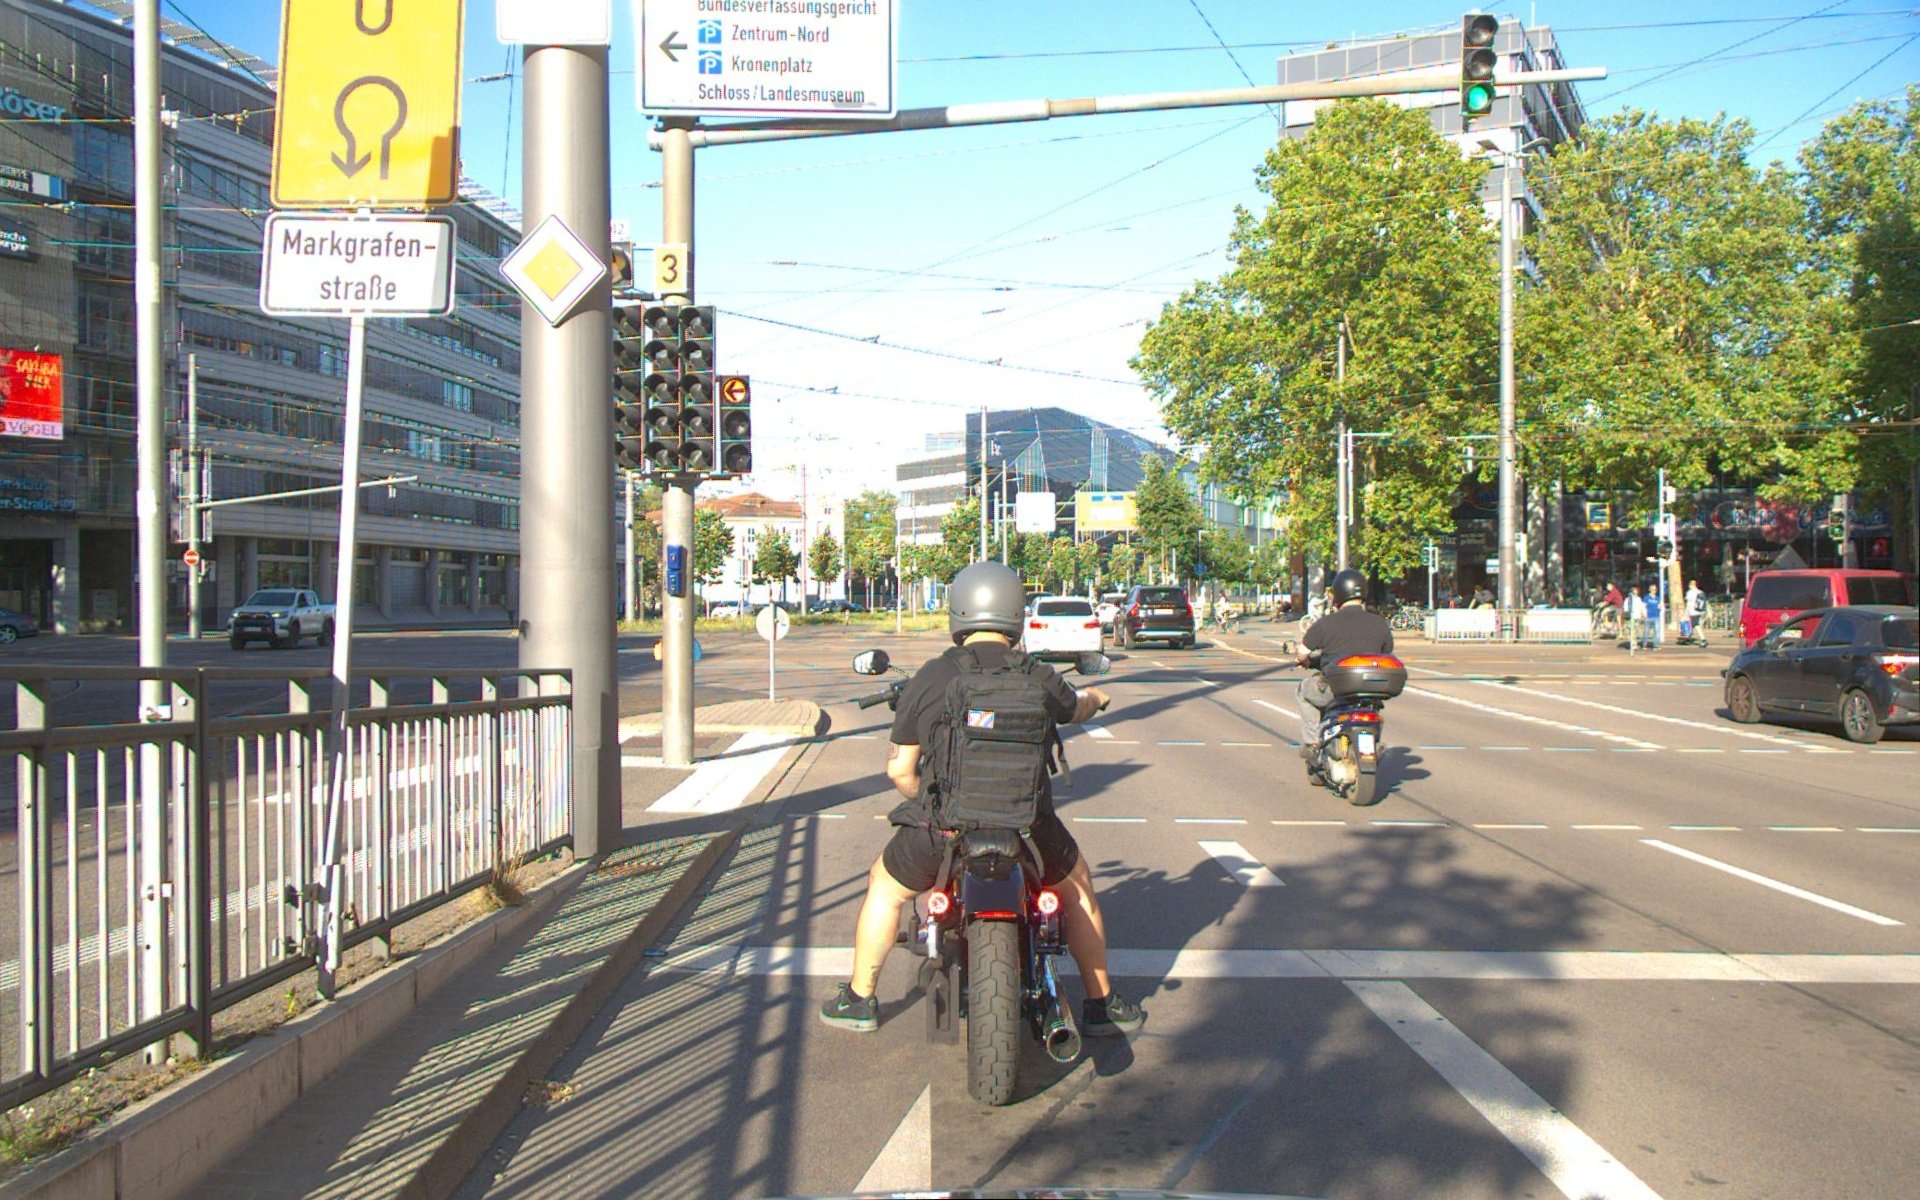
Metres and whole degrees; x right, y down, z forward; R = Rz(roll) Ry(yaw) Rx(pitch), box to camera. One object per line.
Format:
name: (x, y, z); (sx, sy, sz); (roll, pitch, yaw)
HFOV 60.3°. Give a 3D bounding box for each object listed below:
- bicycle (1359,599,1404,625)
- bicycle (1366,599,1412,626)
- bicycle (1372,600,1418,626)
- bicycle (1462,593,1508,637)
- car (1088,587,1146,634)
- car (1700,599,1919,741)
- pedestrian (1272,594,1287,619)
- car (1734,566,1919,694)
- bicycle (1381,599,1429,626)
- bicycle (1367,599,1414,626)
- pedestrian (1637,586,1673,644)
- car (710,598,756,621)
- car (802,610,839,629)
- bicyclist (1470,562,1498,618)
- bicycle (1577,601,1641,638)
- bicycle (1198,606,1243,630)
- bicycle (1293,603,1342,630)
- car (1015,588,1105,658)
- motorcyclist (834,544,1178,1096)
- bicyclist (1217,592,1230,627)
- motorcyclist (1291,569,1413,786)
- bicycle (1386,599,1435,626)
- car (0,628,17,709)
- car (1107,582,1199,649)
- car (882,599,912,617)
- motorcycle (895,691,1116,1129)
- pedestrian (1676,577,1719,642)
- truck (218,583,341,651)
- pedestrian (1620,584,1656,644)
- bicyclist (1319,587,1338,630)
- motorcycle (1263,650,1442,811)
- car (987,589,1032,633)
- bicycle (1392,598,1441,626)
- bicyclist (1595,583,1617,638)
bicycle: (18.070, 0.529, 70.924); (1.842, 1.064, 0.360); (1, 0, -2)
bicycle: (18.083, 0.528, 69.773); (1.842, 1.064, 0.360); (1, 0, -2)
bicycle: (18.094, 0.538, 68.787); (1.842, 1.065, 0.360); (1, -1, -2)
bicycle: (17.274, 0.488, 54.474); (0.710, 1.391, 2.918); (1, -1, 3)
car: (5.730, 0.363, 60.859); (1.696, 1.626, 4.040); (1, 1, -1)
car: (10.692, 0.758, 19.752); (1.697, 1.475, 4.038); (1, 0, -4)
pedestrian: (17.590, 0.367, 91.083); (0.802, 1.337, 0.638); (1, -1, 8)
car: (15.367, 0.501, 28.646); (4.428, 2.044, 1.784); (1, 0, -39)
bicycle: (18.188, 0.517, 67.601); (1.842, 1.065, 0.360); (1, -1, -2)
bicycle: (18.032, 0.528, 69.271); (1.842, 1.064, 0.360); (1, 0, -2)
pedestrian: (18.448, 0.404, 43.887); (0.557, 1.505, 0.698); (1, -1, -20)
car: (-14.741, 0.600, 107.466); (1.786, 1.455, 4.534); (0, 0, 8)
car: (-10.797, 1.528, 128.435); (1.786, 1.455, 4.244); (1, -1, 11)
bicyclist: (17.282, -0.322, 54.547); (0.682, 1.840, 0.729); (1, -1, 3)
bicycle: (22.334, 0.681, 56.926); (2.001, 1.235, 0.421); (1, -1, -1)
bicycle: (10.547, 0.745, 66.994); (1.793, 0.942, 0.356); (1, -1, 33)
bicycle: (14.161, 0.669, 65.535); (1.831, 1.062, 0.537); (0, -1, 18)
car: (2.236, 0.520, 37.858); (1.696, 1.482, 4.417); (1, -1, -1)
motorcyclist: (0.131, 0.645, 5.310); (1.009, 1.621, 0.873); (0, 0, -1)
bicyclist: (10.667, 0.380, 66.920); (0.374, 1.397, 0.344); (0, -1, 35)
motorcyclist: (2.975, 0.579, 12.597); (0.780, 1.607, 0.529); (1, -1, -2)
bicycle: (18.188, 0.496, 66.787); (1.842, 1.065, 0.360); (1, -1, -2)
car: (-14.514, 0.906, 22.396); (2.835, 1.081, 1.235); (1, -1, -22)
car: (5.414, 0.382, 46.887); (1.698, 1.762, 4.607); (1, 1, -5)
car: (-5.600, 0.690, 147.885); (1.712, 1.550, 4.003); (1, -1, 13)
motorcycle: (0.109, 0.912, 5.647); (0.588, 1.054, 2.233); (1, 0, -1)
pedestrian: (20.135, 0.264, 45.175); (0.816, 1.734, 0.759); (1, -1, -1)
truck: (-20.964, 0.535, 51.155); (1.955, 1.912, 5.150); (-2, -1, -4)
pedestrian: (17.910, 0.363, 43.670); (0.557, 1.559, 0.698); (1, -1, -18)
bicyclist: (14.589, 0.347, 65.416); (0.673, 1.702, 0.541); (0, -1, 18)
motorcycle: (2.965, 0.948, 12.777); (0.787, 1.069, 2.375); (1, -1, -1)
car: (2.024, 0.462, 67.234); (1.766, 1.708, 4.042); (1, -1, 2)
bicycle: (18.222, 0.477, 66.005); (1.842, 1.065, 0.360); (1, -1, -2)
bicyclist: (22.241, 0.365, 56.934); (0.572, 1.870, 0.402); (1, -1, -1)
